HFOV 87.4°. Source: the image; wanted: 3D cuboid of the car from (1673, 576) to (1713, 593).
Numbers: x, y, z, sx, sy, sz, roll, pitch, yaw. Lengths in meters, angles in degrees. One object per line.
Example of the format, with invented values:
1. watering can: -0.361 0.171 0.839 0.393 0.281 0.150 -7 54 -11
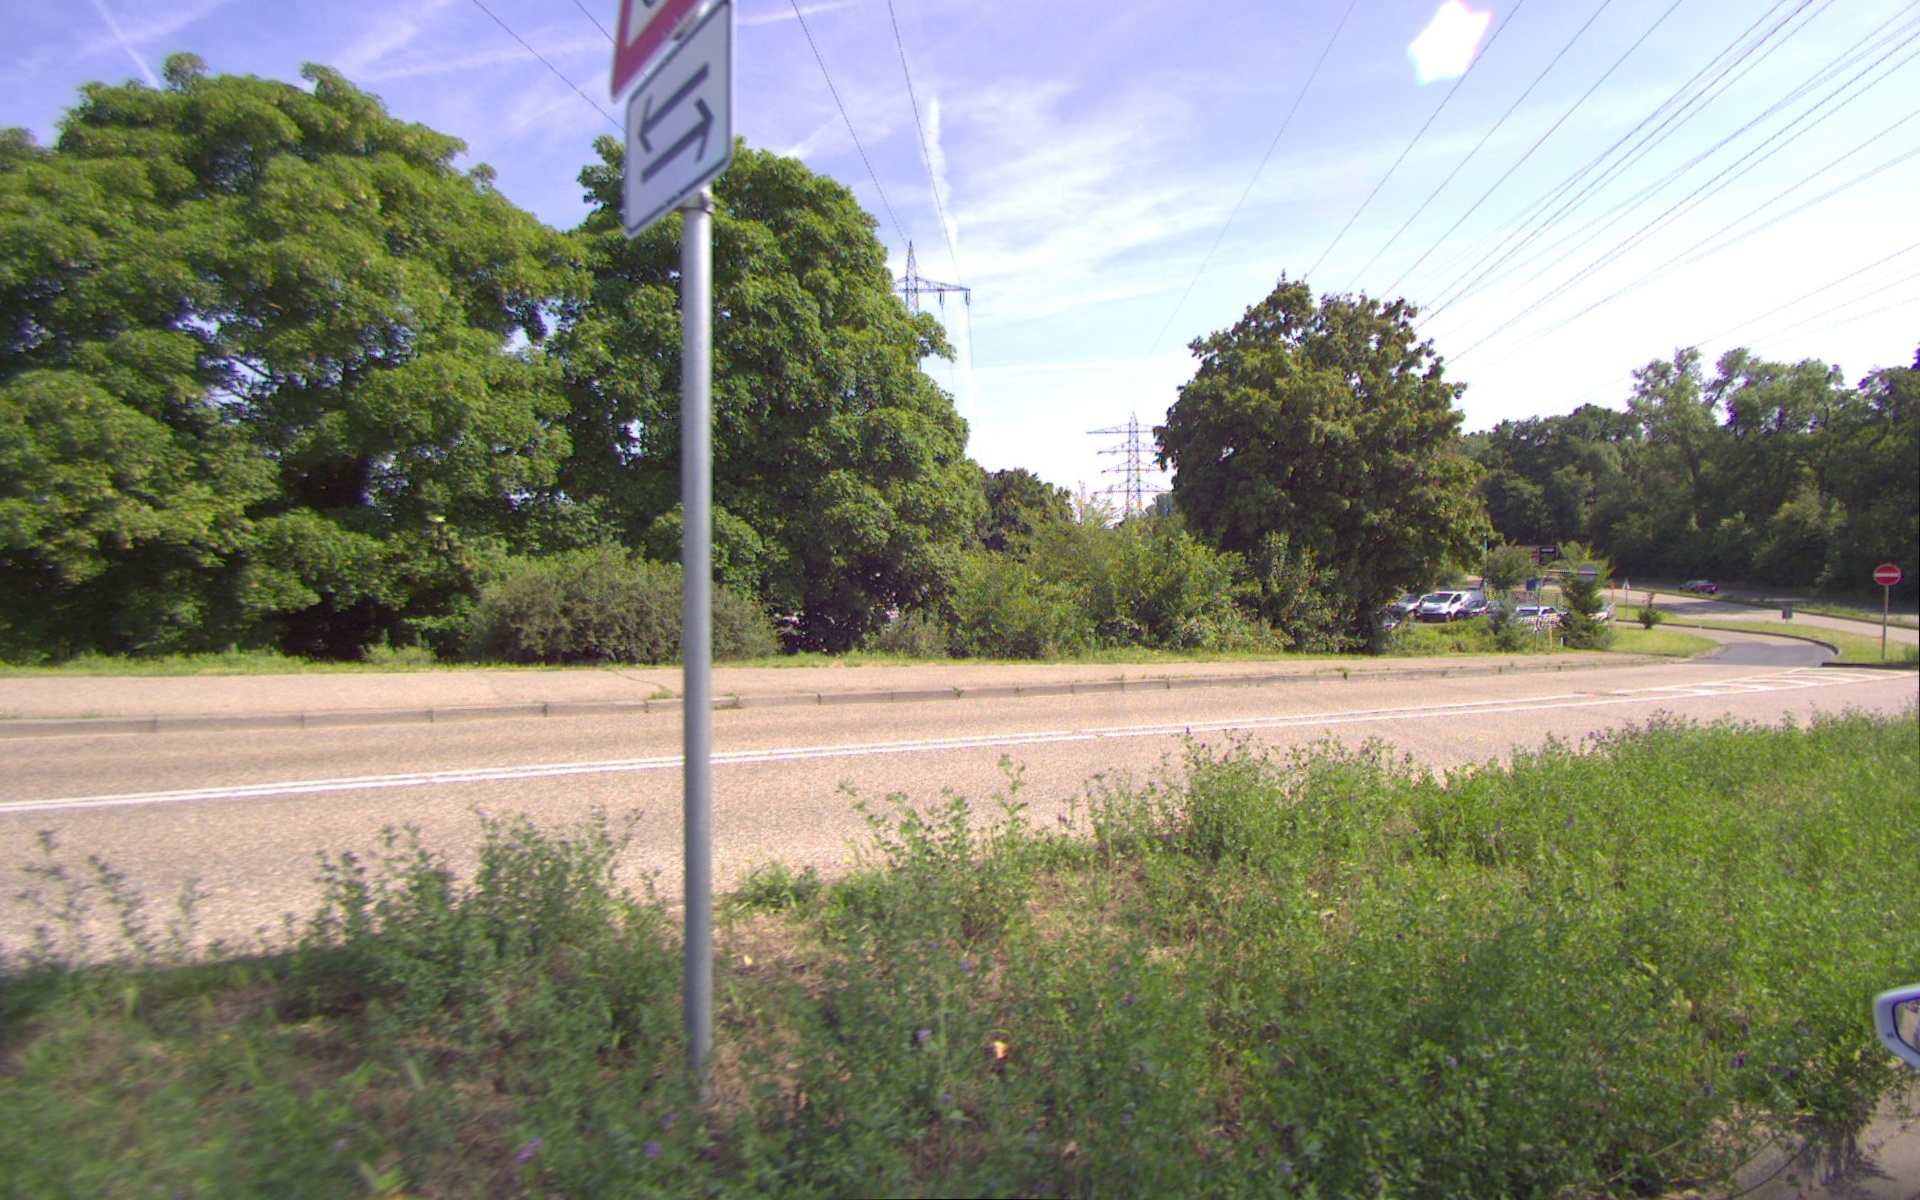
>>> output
1. car: 75.255 -1.624 103.167 1.619 1.588 3.657 -1 3 4

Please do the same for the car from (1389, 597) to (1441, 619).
1. car: 31.632 0.520 69.804 3.602 1.311 1.584 -3 3 -33

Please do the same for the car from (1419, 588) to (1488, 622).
1. car: 33.102 0.284 67.351 4.671 2.069 1.685 -2 3 -26
